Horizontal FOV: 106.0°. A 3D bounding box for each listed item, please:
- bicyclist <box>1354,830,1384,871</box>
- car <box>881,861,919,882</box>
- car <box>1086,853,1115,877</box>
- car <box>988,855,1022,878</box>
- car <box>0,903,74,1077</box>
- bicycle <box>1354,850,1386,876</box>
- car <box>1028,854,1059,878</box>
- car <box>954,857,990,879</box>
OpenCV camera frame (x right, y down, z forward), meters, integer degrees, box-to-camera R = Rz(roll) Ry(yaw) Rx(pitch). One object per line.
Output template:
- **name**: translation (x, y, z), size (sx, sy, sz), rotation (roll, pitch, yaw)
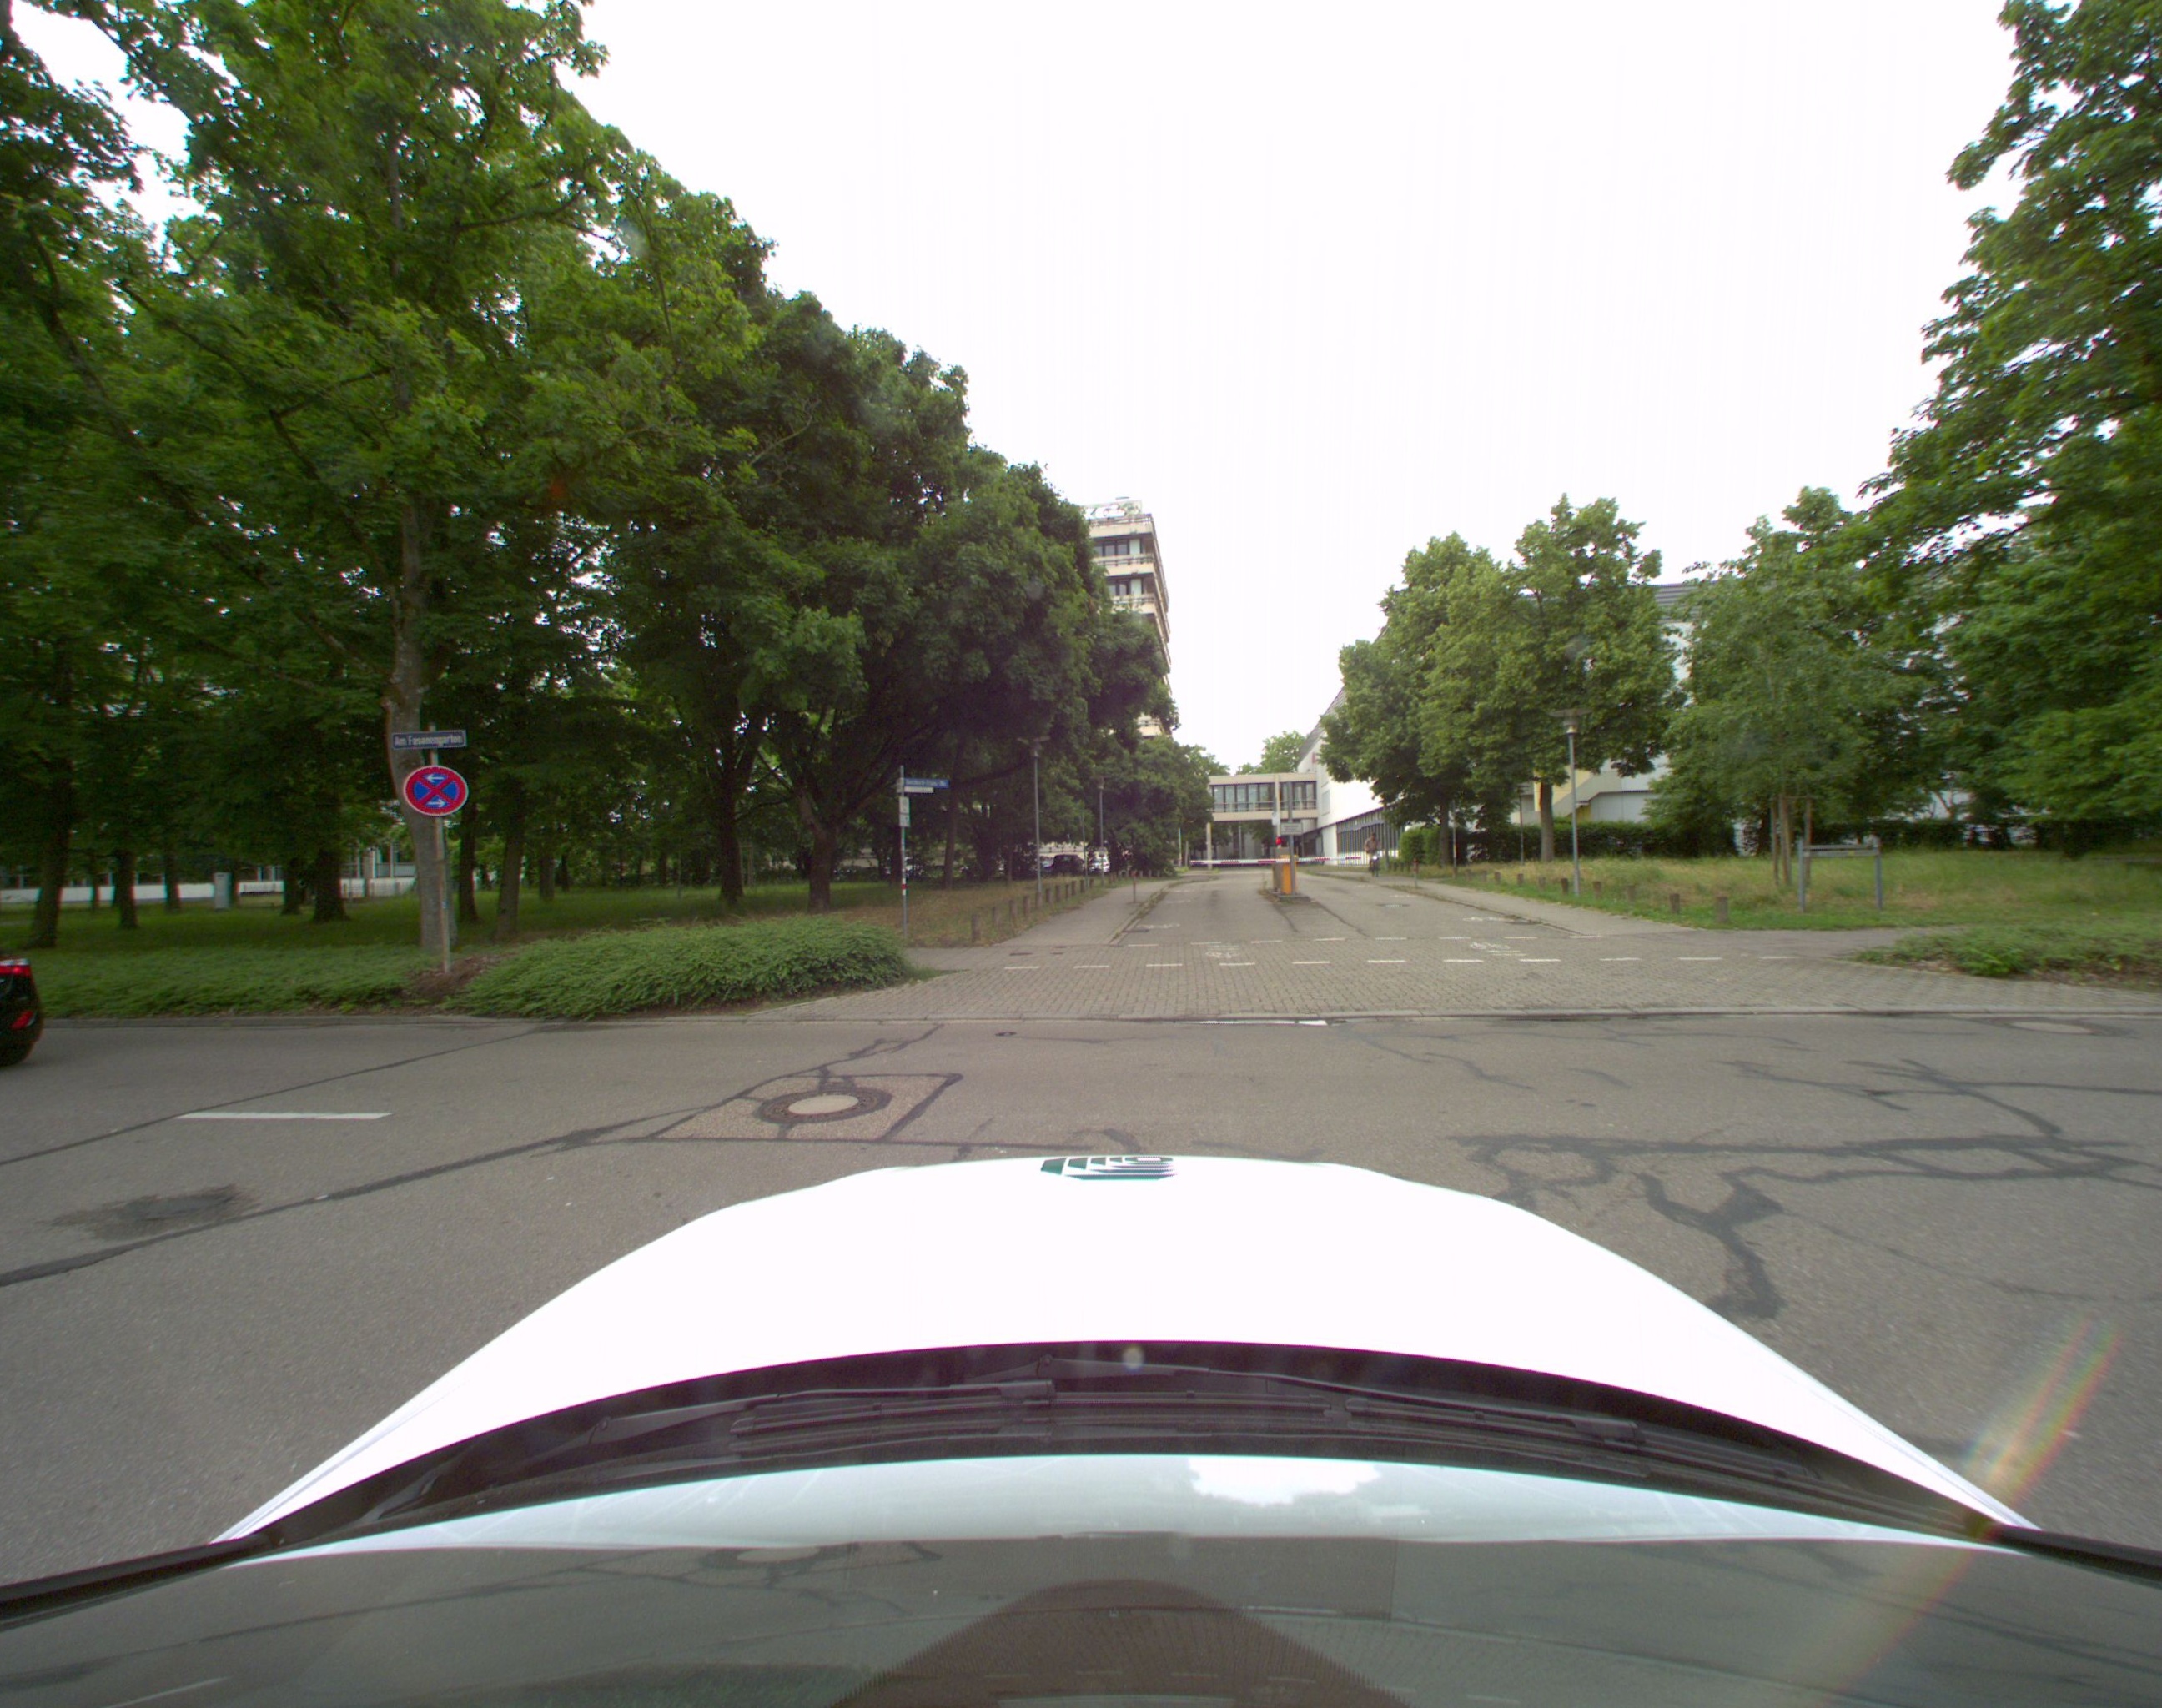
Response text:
- **bicyclist**: translation (12.176, -0.148, 34.436), size (1.011, 1.644, 0.925), rotation (-2, 0, 9)
- **car**: translation (-14.779, 1.384, 66.781), size (1.909, 1.618, 4.005), rotation (-2, -1, 4)
- **car**: translation (1.580, 0.857, 64.498), size (1.984, 1.762, 4.004), rotation (-2, -1, 4)
- **car**: translation (-6.063, 1.049, 65.150), size (1.984, 1.728, 4.004), rotation (-2, -2, 4)
- **car**: translation (-11.206, 1.221, 6.975), size (3.786, 1.462, 1.859), rotation (-2, -1, 15)
- **bicycle**: translation (12.172, 0.362, 34.394), size (0.861, 1.074, 2.147), rotation (-2, 0, 9)
- **car**: translation (-2.955, 0.974, 65.057), size (1.984, 1.794, 4.004), rotation (-2, -2, 4)
- **car**: translation (-8.733, 1.122, 65.585), size (1.984, 1.618, 4.005), rotation (-2, -1, 4)
